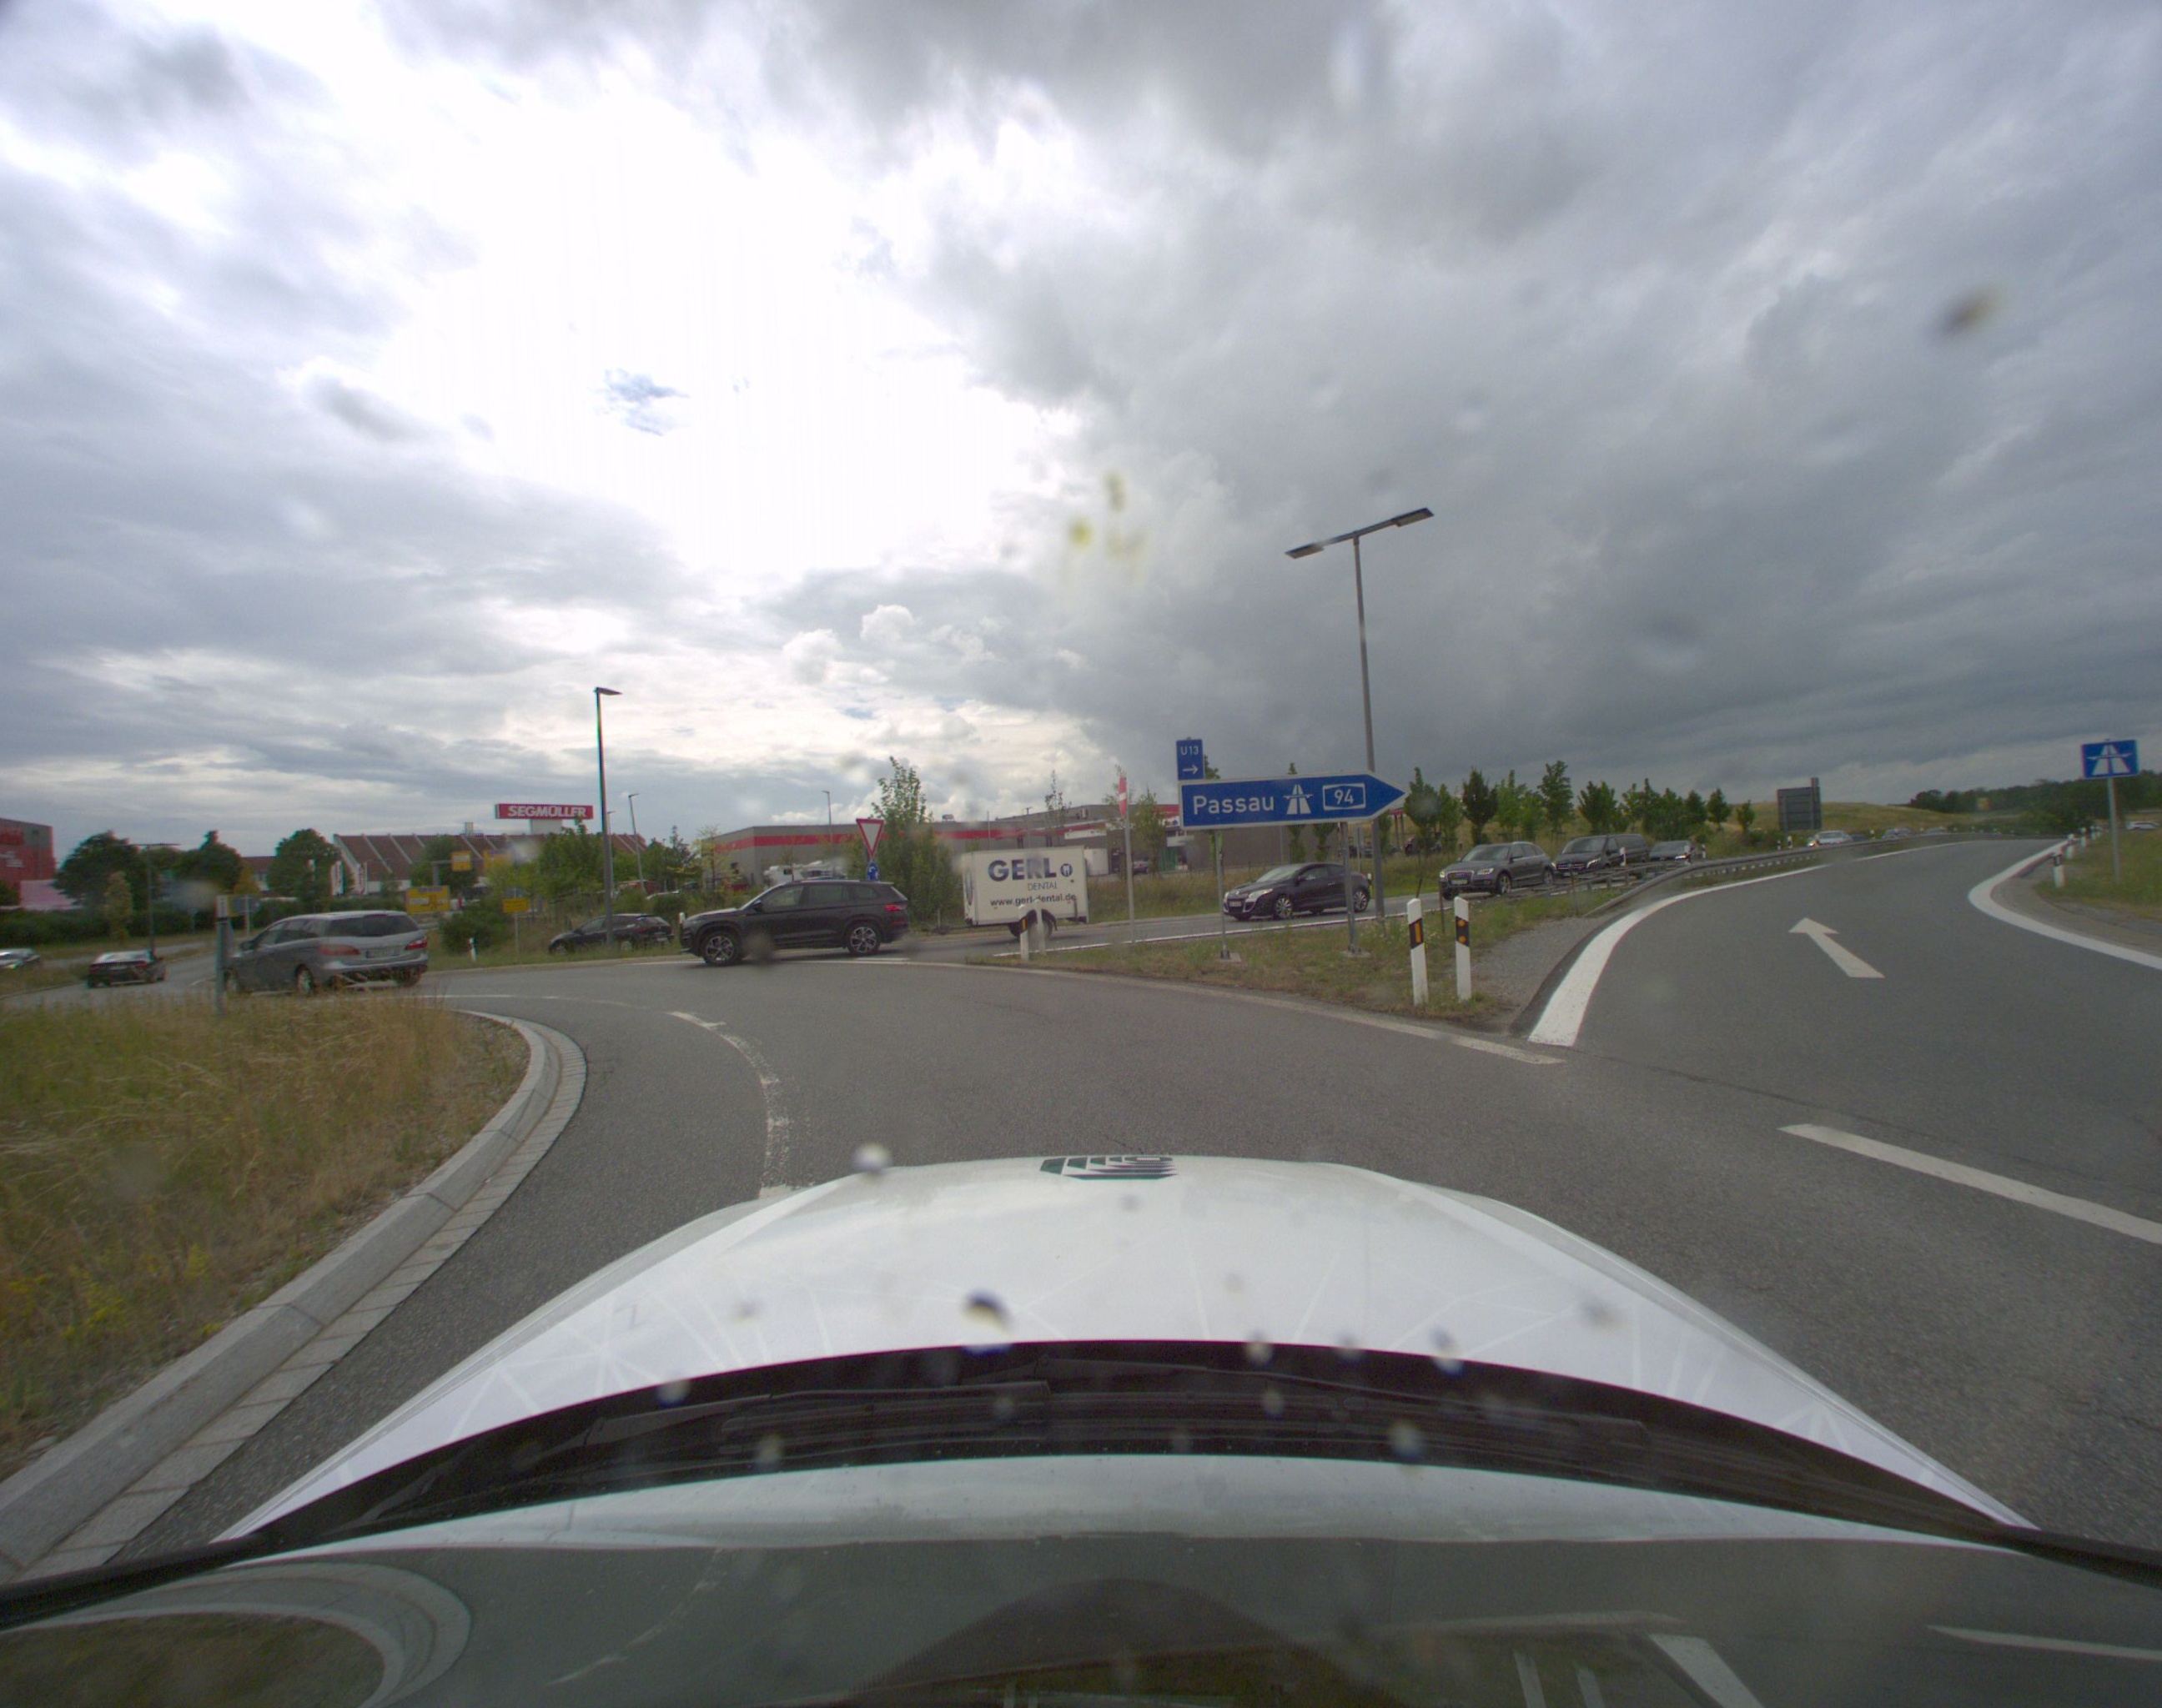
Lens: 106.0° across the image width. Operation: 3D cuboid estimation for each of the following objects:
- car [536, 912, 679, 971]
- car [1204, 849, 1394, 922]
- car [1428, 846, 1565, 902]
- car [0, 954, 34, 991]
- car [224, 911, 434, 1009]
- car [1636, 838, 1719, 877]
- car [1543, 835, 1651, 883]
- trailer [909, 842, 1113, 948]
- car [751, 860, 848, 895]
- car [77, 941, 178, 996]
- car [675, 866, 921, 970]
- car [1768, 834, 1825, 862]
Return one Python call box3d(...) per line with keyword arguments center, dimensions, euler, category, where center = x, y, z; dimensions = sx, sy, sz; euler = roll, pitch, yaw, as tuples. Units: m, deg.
box3d(center=(-15.947, 2.943, 27.518), dimensions=(3.963, 1.750, 1.661), euler=(-2, 0, 9), category="car")
box3d(center=(5.783, 0.806, 21.624), dimensions=(4.598, 1.684, 1.984), euler=(-2, -2, -24), category="car")
box3d(center=(12.842, 0.559, 25.060), dimensions=(4.560, 1.491, 1.718), euler=(-2, 0, -34), category="car")
box3d(center=(-52.875, 5.815, 39.808), dimensions=(3.950, 1.439, 1.610), euler=(-1, 0, 44), category="car")
box3d(center=(-15.101, 2.048, 16.345), dimensions=(3.947, 1.598, 1.754), euler=(-3, 1, 27), category="car")
box3d(center=(28.906, 0.163, 39.410), dimensions=(4.614, 1.684, 1.977), euler=(-1, -3, -38), category="car")
box3d(center=(19.938, 0.186, 31.419), dimensions=(4.614, 1.684, 1.977), euler=(-1, -3, -38), category="car")
box3d(center=(-1.654, 0.871, 19.065), dimensions=(4.372, 2.184, 1.987), euler=(-2, 0, -20), category="trailer")
box3d(center=(-25.119, 2.031, 72.911), dimensions=(7.729, 2.820, 2.442), euler=(-2, 0, -39), category="car")
box3d(center=(-37.844, 4.487, 32.425), dimensions=(1.786, 1.618, 3.955), euler=(-2, 0, -37), category="car")
box3d(center=(-5.911, 1.310, 17.541), dimensions=(4.674, 1.760, 1.990), euler=(-3, -2, -14), category="car")
box3d(center=(48.339, -0.400, 54.959), dimensions=(4.614, 1.684, 1.977), euler=(-1, -3, -38), category="car")
